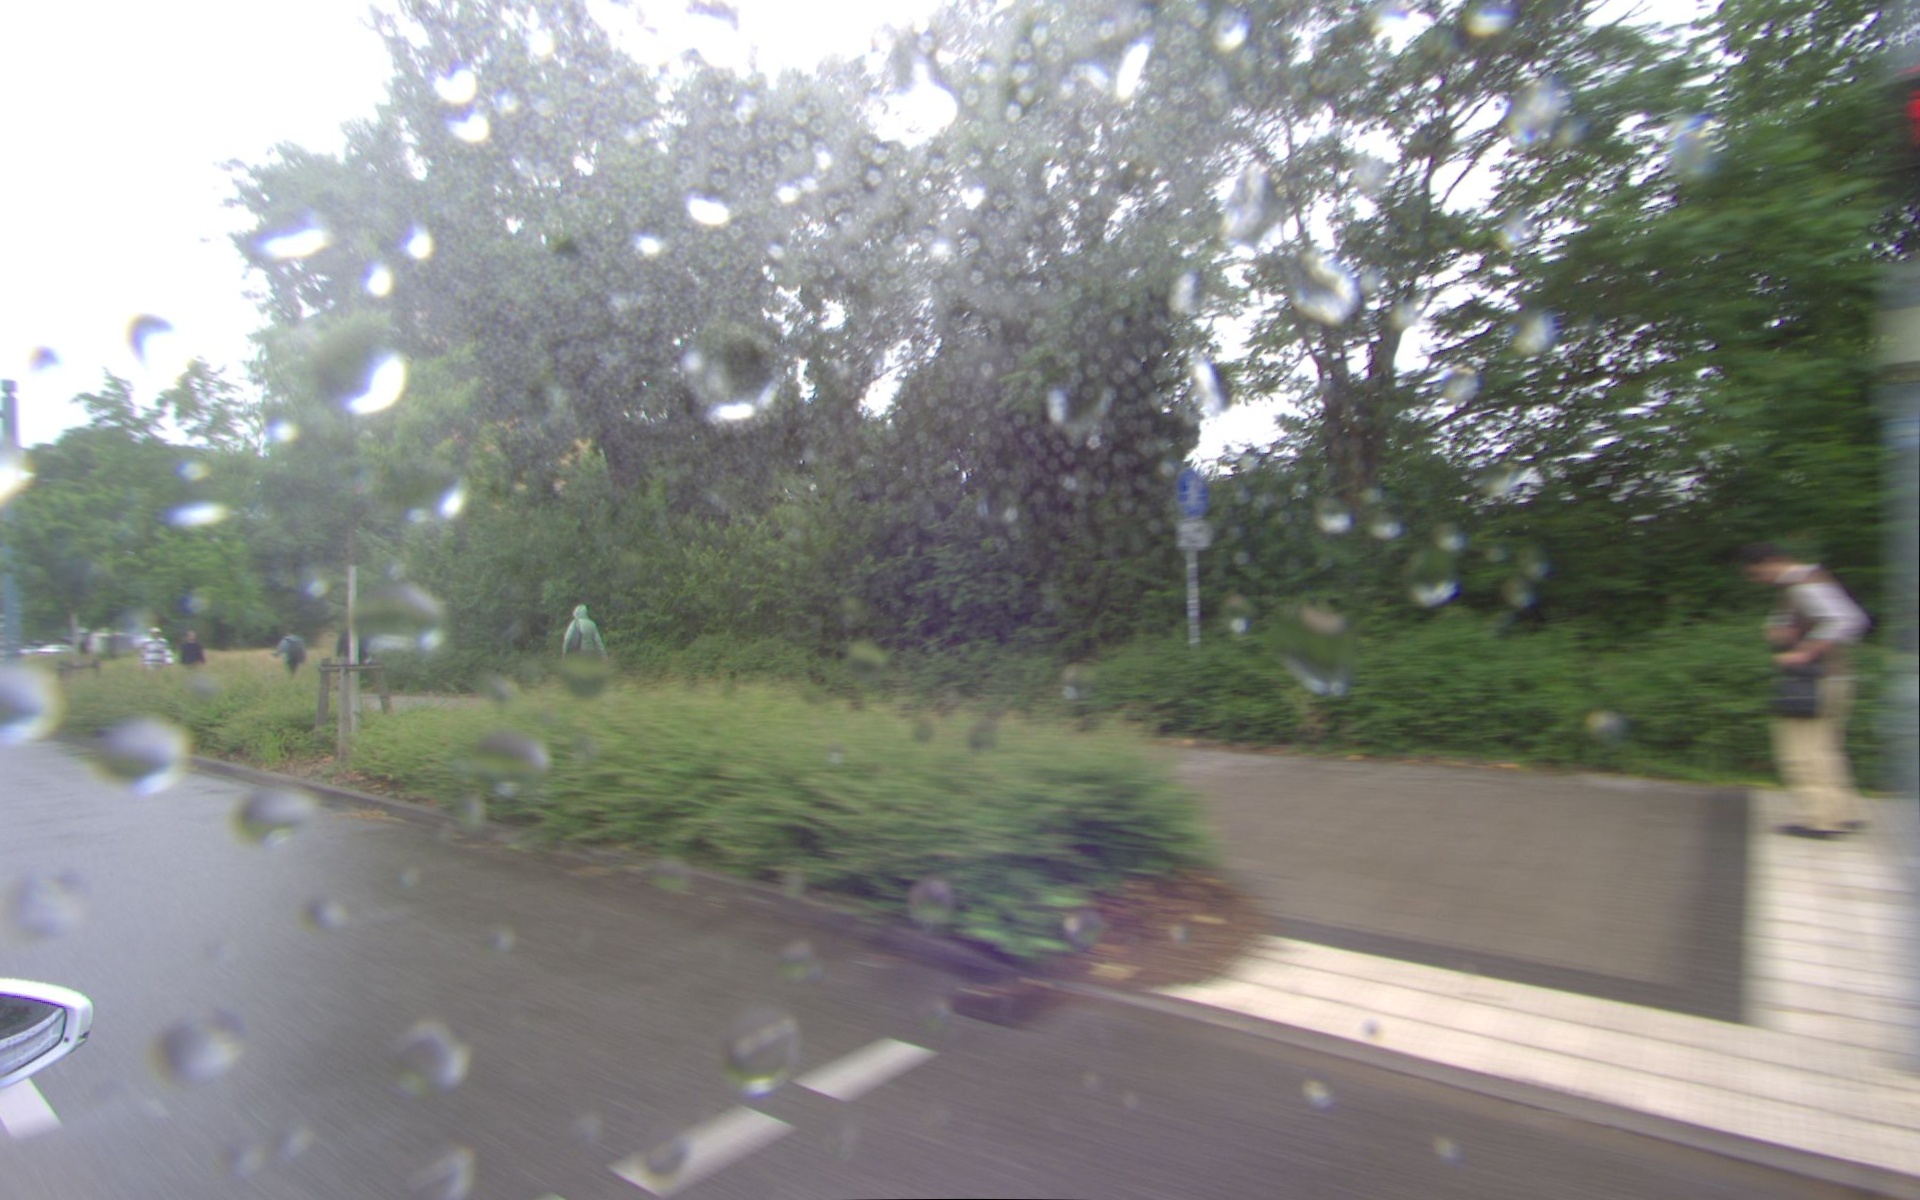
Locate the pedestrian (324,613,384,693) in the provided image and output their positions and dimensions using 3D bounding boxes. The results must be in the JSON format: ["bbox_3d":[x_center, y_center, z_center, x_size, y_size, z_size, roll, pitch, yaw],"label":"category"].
[{"bbox_3d":[-13.741,1.179,22.714,1.034,1.770,0.928,-1,-1,43],"label":"pedestrian"}]

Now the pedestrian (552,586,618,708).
[{"bbox_3d":[-6.469,0.805,17.281,0.820,2.040,0.786,-1,-1,43],"label":"pedestrian"}]

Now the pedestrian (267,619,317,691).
[{"bbox_3d":[-17.461,1.423,26.181,0.820,1.820,0.928,-1,-1,43],"label":"pedestrian"}]

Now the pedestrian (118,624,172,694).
[{"bbox_3d":[-21.187,1.526,26.040,0.819,1.743,0.929,2,0,41],"label":"pedestrian"}]

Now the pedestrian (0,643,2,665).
[{"bbox_3d":[-68.232,3.816,70.564,1.014,1.608,0.929,0,-1,-39],"label":"pedestrian"}]

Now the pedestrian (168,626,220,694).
[{"bbox_3d":[-20.343,1.581,26.605,0.819,1.726,0.929,2,0,41],"label":"pedestrian"}]

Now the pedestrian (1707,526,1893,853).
[{"bbox_3d":[5.309,0.530,6.335,0.842,1.883,0.725,-1,-1,43],"label":"pedestrian"}]
